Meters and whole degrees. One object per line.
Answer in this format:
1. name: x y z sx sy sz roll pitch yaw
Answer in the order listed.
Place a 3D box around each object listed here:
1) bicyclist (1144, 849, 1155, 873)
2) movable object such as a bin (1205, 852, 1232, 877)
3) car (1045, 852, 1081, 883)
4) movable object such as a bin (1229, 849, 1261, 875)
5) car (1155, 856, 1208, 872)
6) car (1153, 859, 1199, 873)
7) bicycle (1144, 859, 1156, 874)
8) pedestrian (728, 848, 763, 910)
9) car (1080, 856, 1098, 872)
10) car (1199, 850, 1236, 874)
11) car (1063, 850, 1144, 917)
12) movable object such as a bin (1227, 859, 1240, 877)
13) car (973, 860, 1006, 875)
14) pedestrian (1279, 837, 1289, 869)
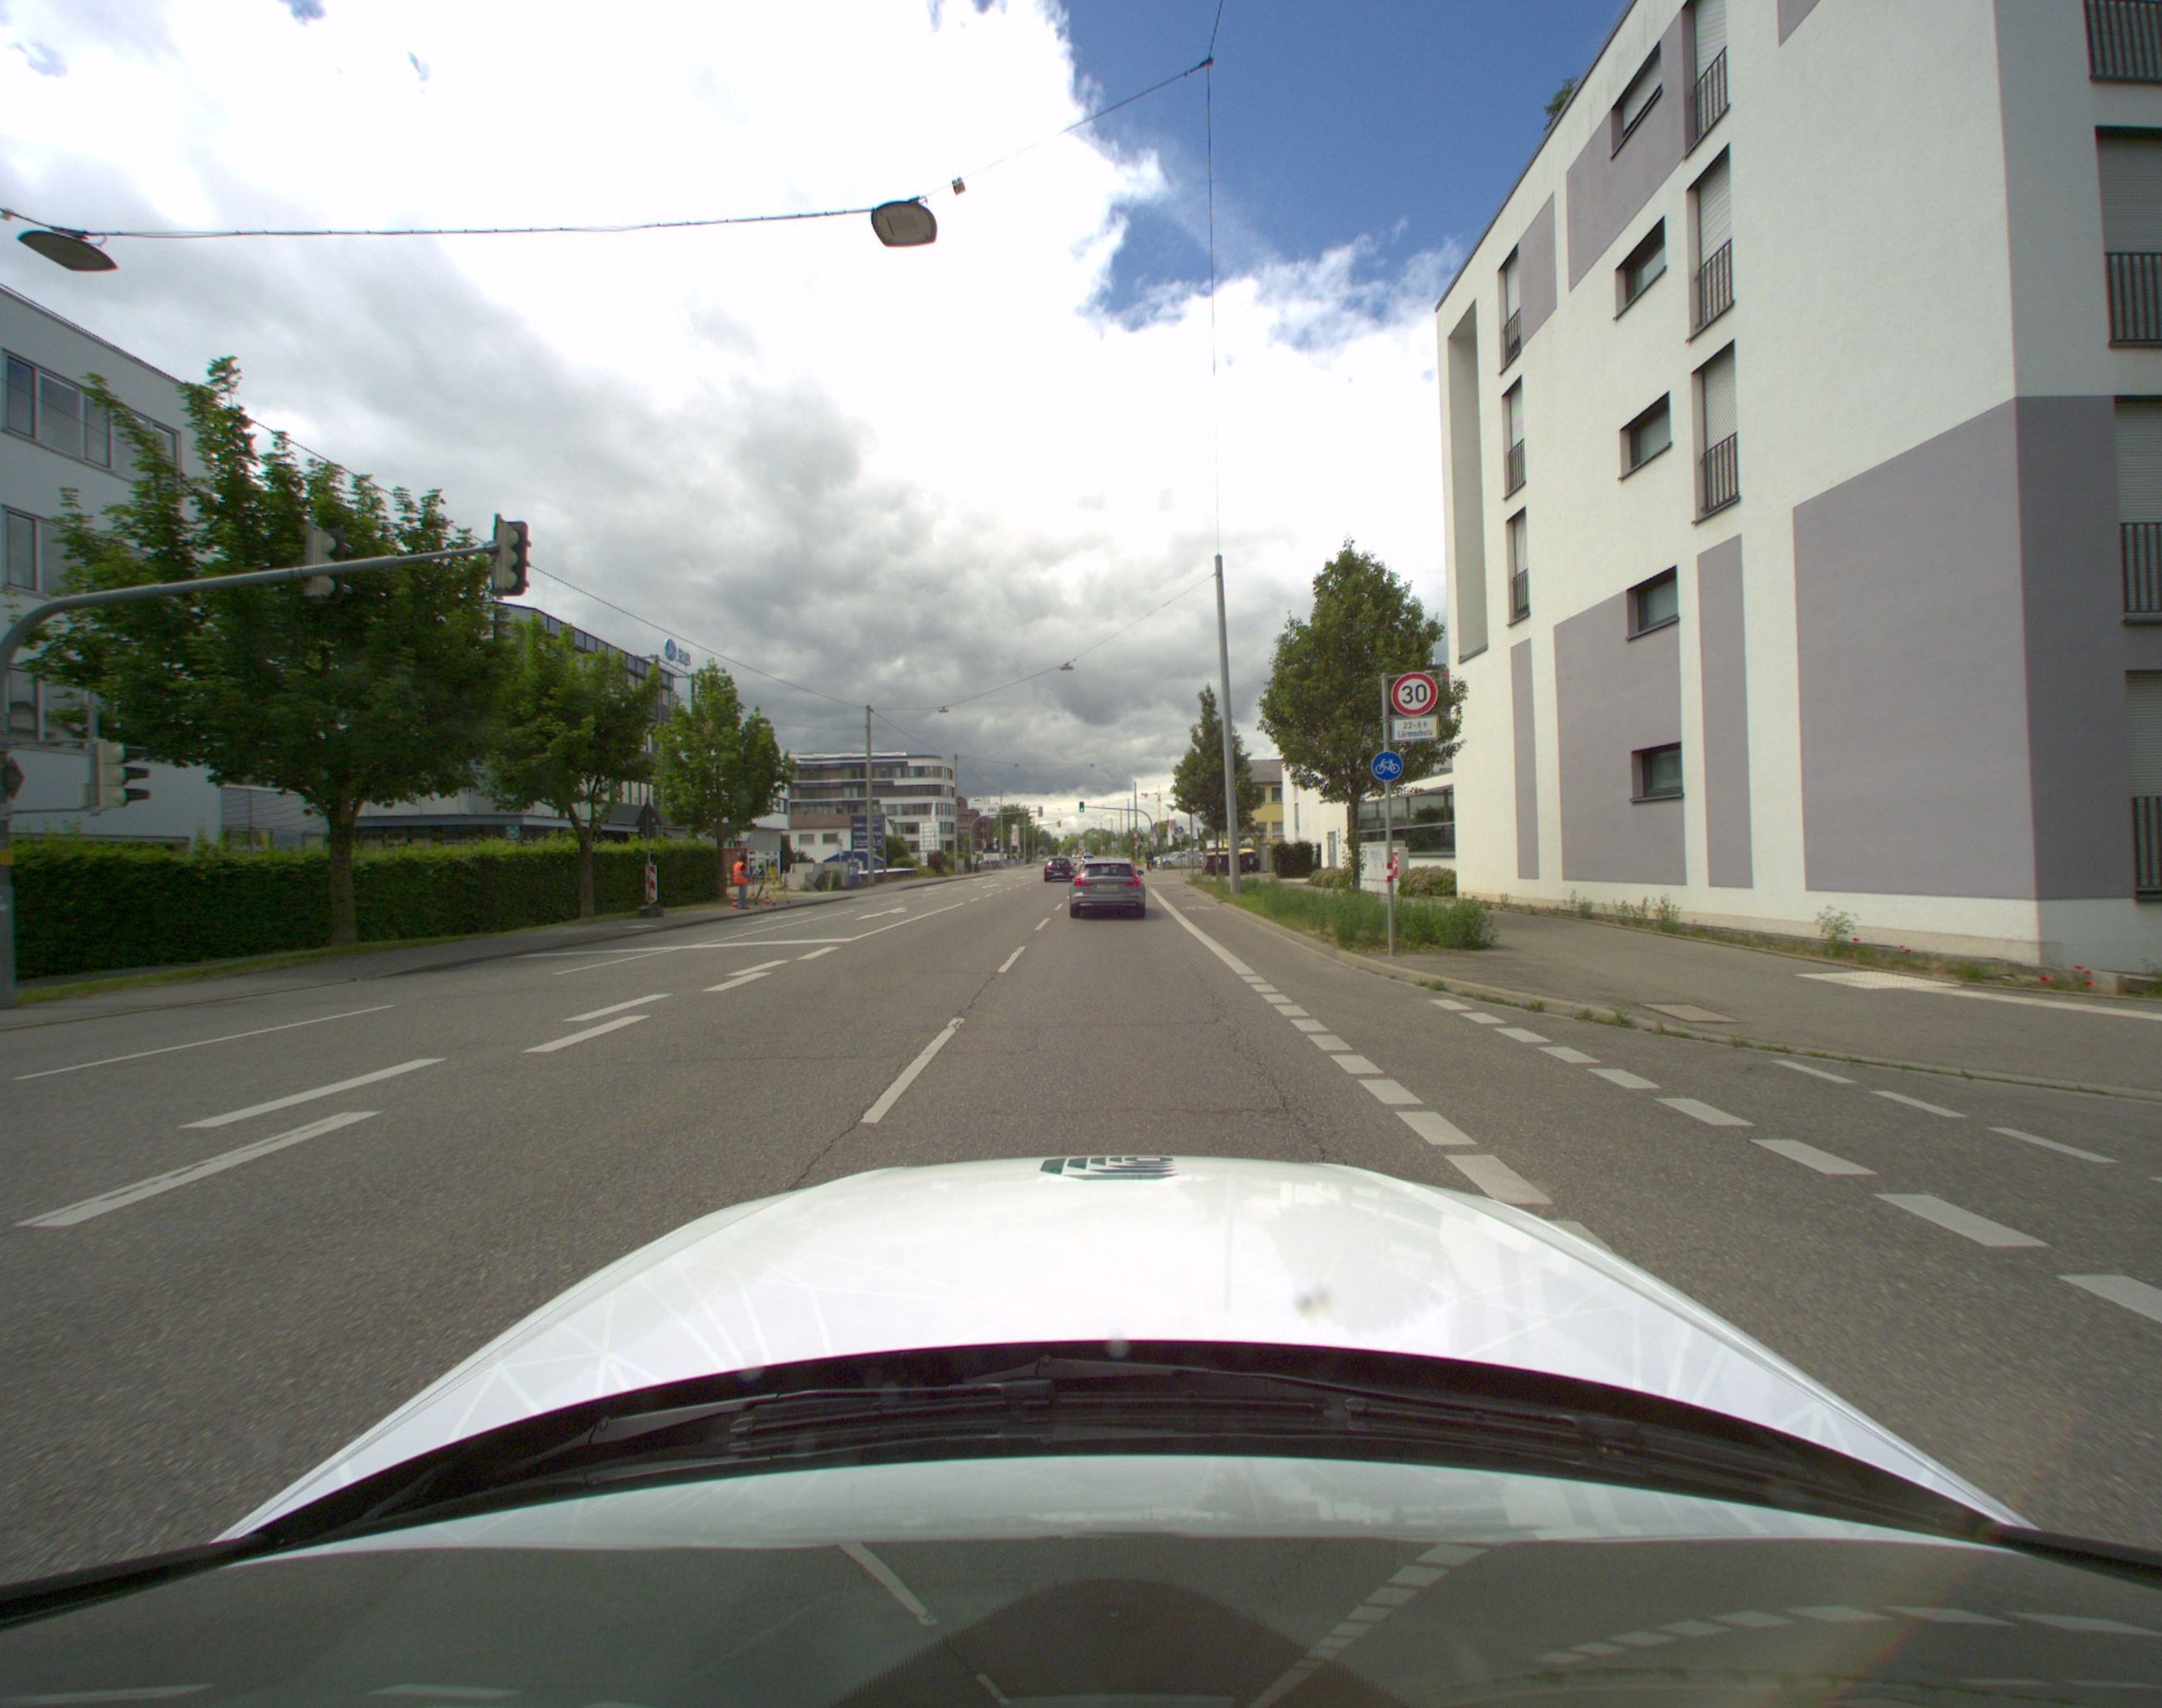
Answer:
1. bicyclist: 4.932 0.484 58.805 0.635 1.675 0.890 -5 -1 2
2. movable object such as a bin: 7.862 0.607 46.577 1.308 1.361 1.257 -2 -2 18
3. car: -1.037 0.808 47.841 1.987 1.717 3.998 1 -1 -1
4. movable object such as a bin: 9.427 0.471 46.801 1.306 1.435 1.259 -3 -3 38
5. car: 9.332 0.913 75.611 4.680 1.493 2.046 -1 0 1
6. car: 9.433 1.174 81.367 4.355 1.404 1.988 0 0 0
7. bicycle: 4.974 0.889 58.795 0.635 1.063 1.978 -5 -1 2
8. pedestrian: -11.158 0.830 27.074 0.717 2.014 0.815 -1 -2 44
9. car: 0.948 1.180 93.265 1.986 1.695 4.000 0 -1 1
10. car: 9.696 0.560 58.241 1.869 1.545 4.521 -2 0 1
11. car: 0.618 0.748 21.124 1.888 1.554 4.002 0 -1 2
12. movable object such as a bin: 8.884 0.792 47.497 0.561 1.026 0.408 -3 -3 38
13. car: -12.007 1.751 106.866 4.088 1.398 1.904 -7 0 -6
14. pedestrian: 11.331 -0.071 45.544 0.503 1.765 0.503 0 -2 18
